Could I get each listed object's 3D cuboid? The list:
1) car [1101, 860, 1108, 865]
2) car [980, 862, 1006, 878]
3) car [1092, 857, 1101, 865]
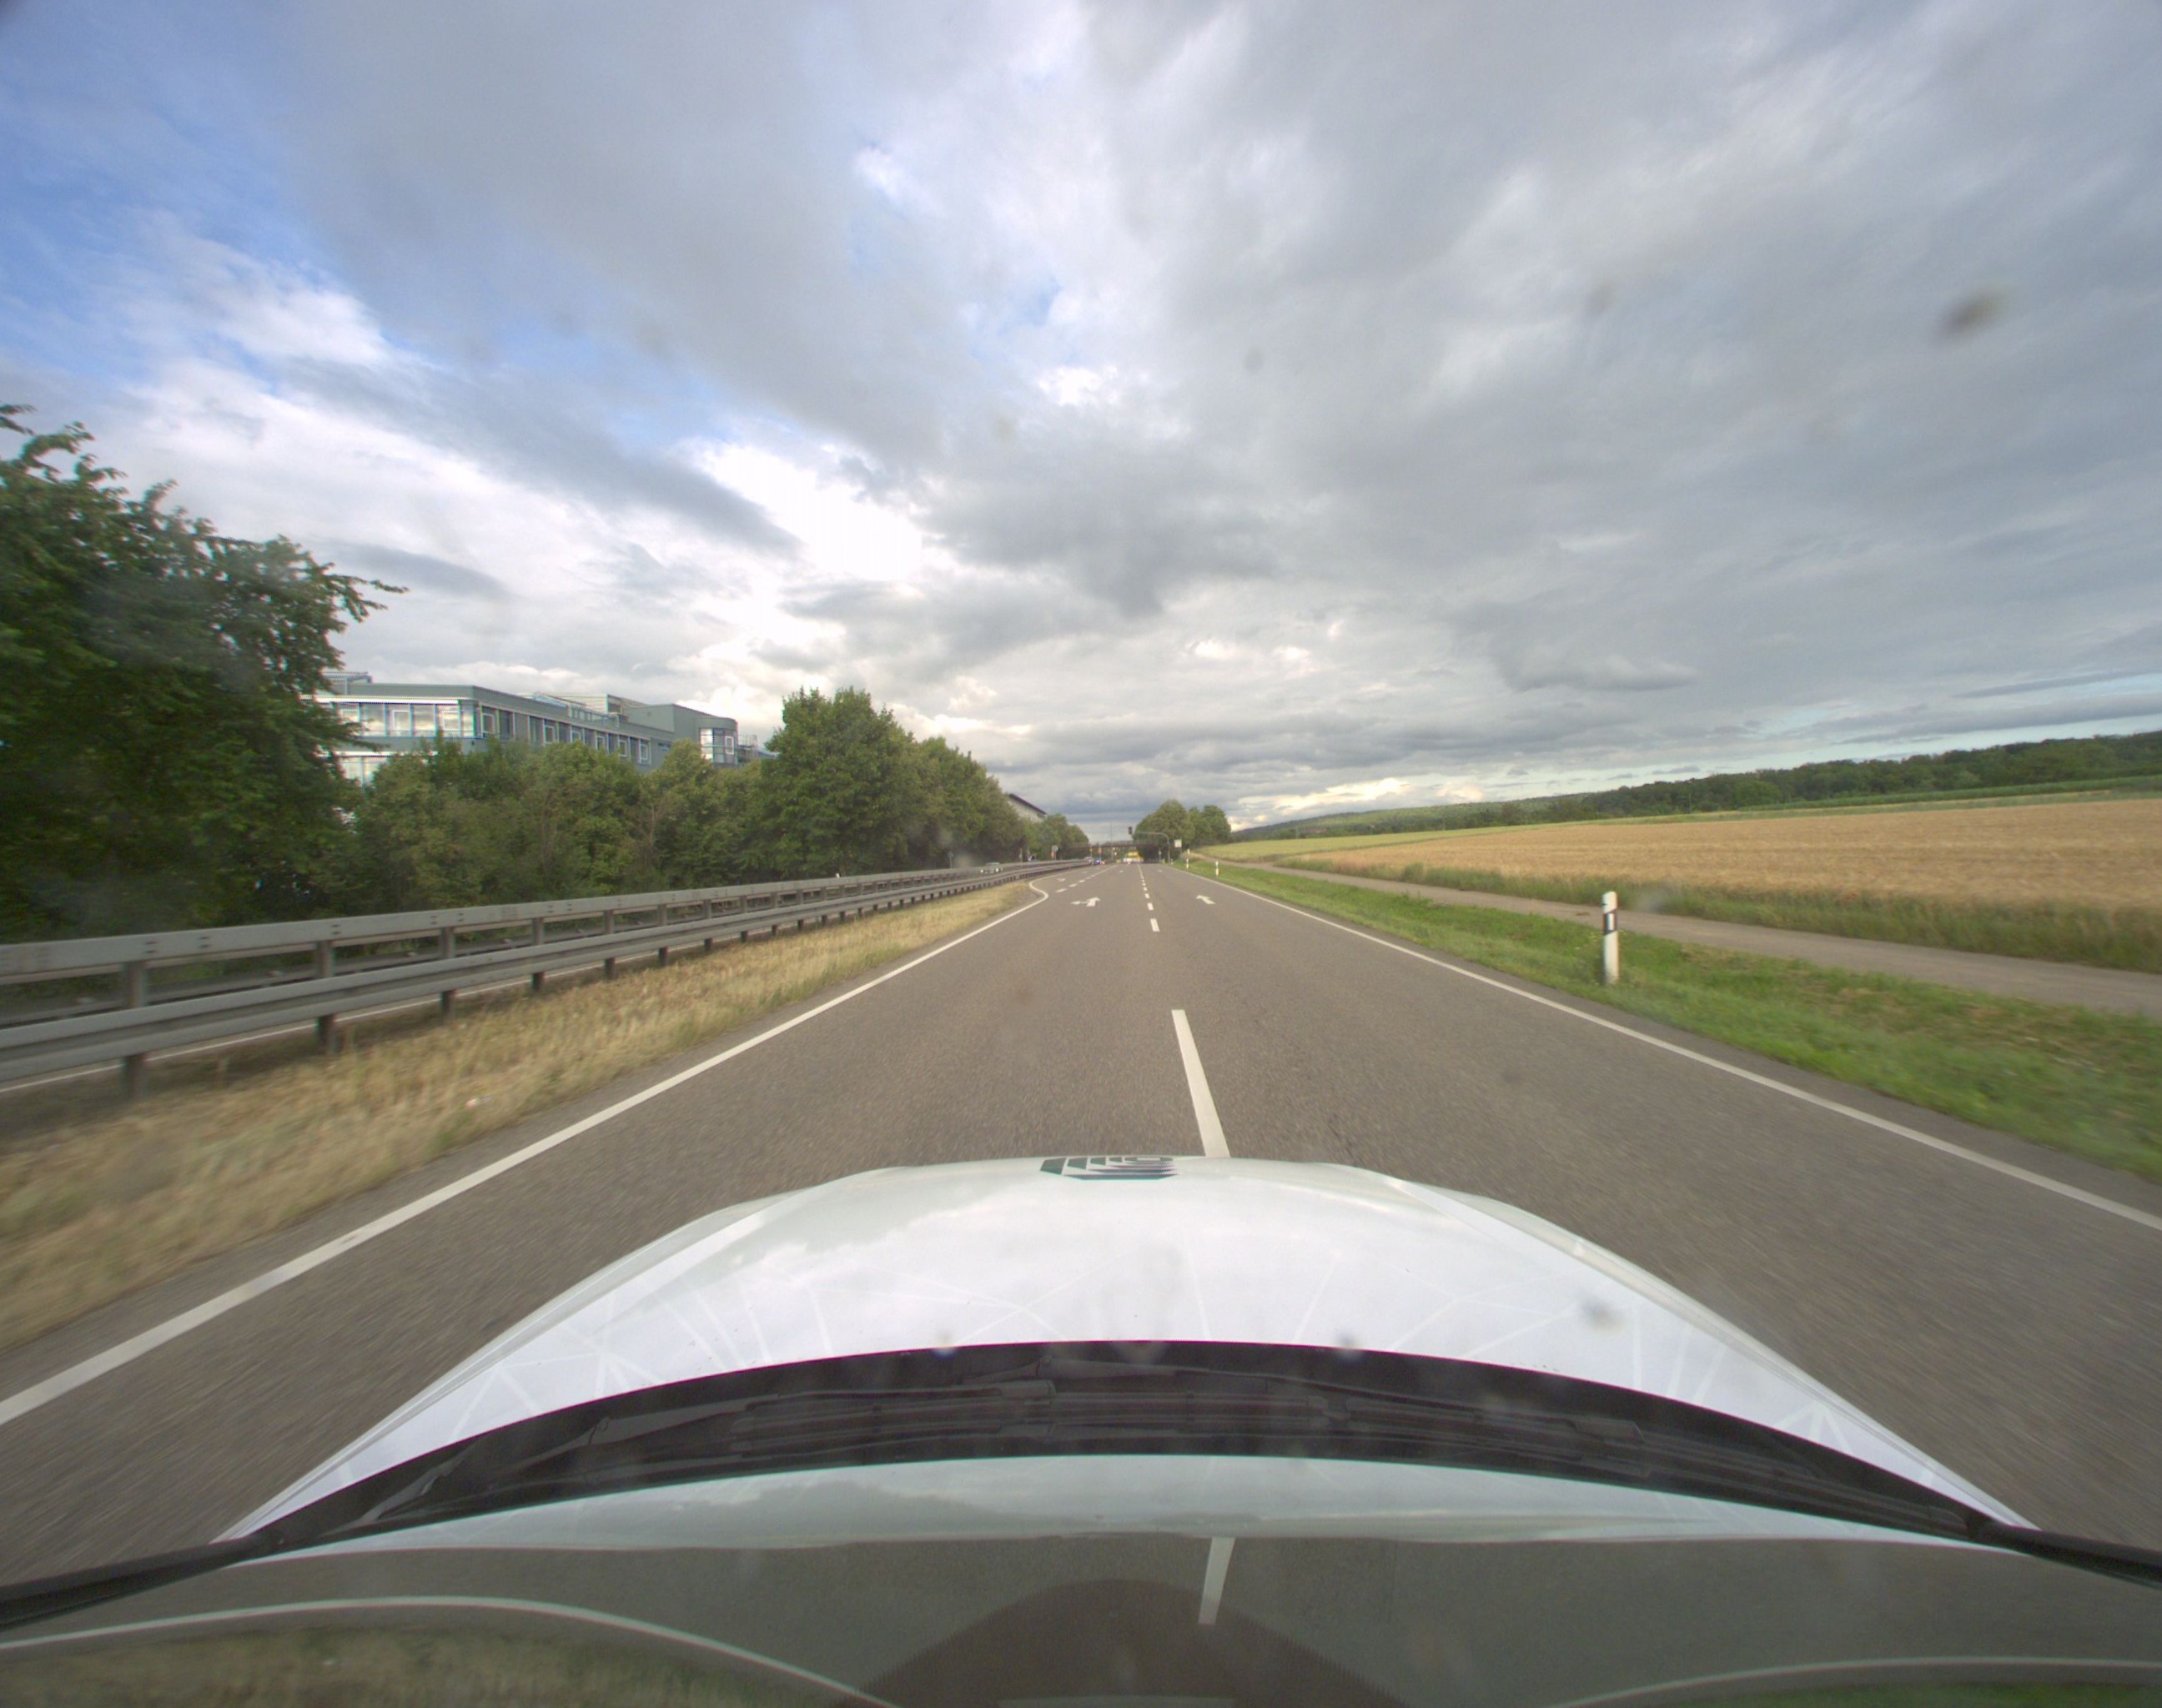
[{"bbox_3d":[5.082,1.821,175.446,1.351,1.092,2.925,-2,0,5],"label":"car"},{"bbox_3d":[-8.572,1.555,79.436,1.751,1.413,4.463,-3,0,3],"label":"car"},{"bbox_3d":[3.854,1.625,201.037,1.985,1.873,4.741,-2,0,4],"label":"car"}]
